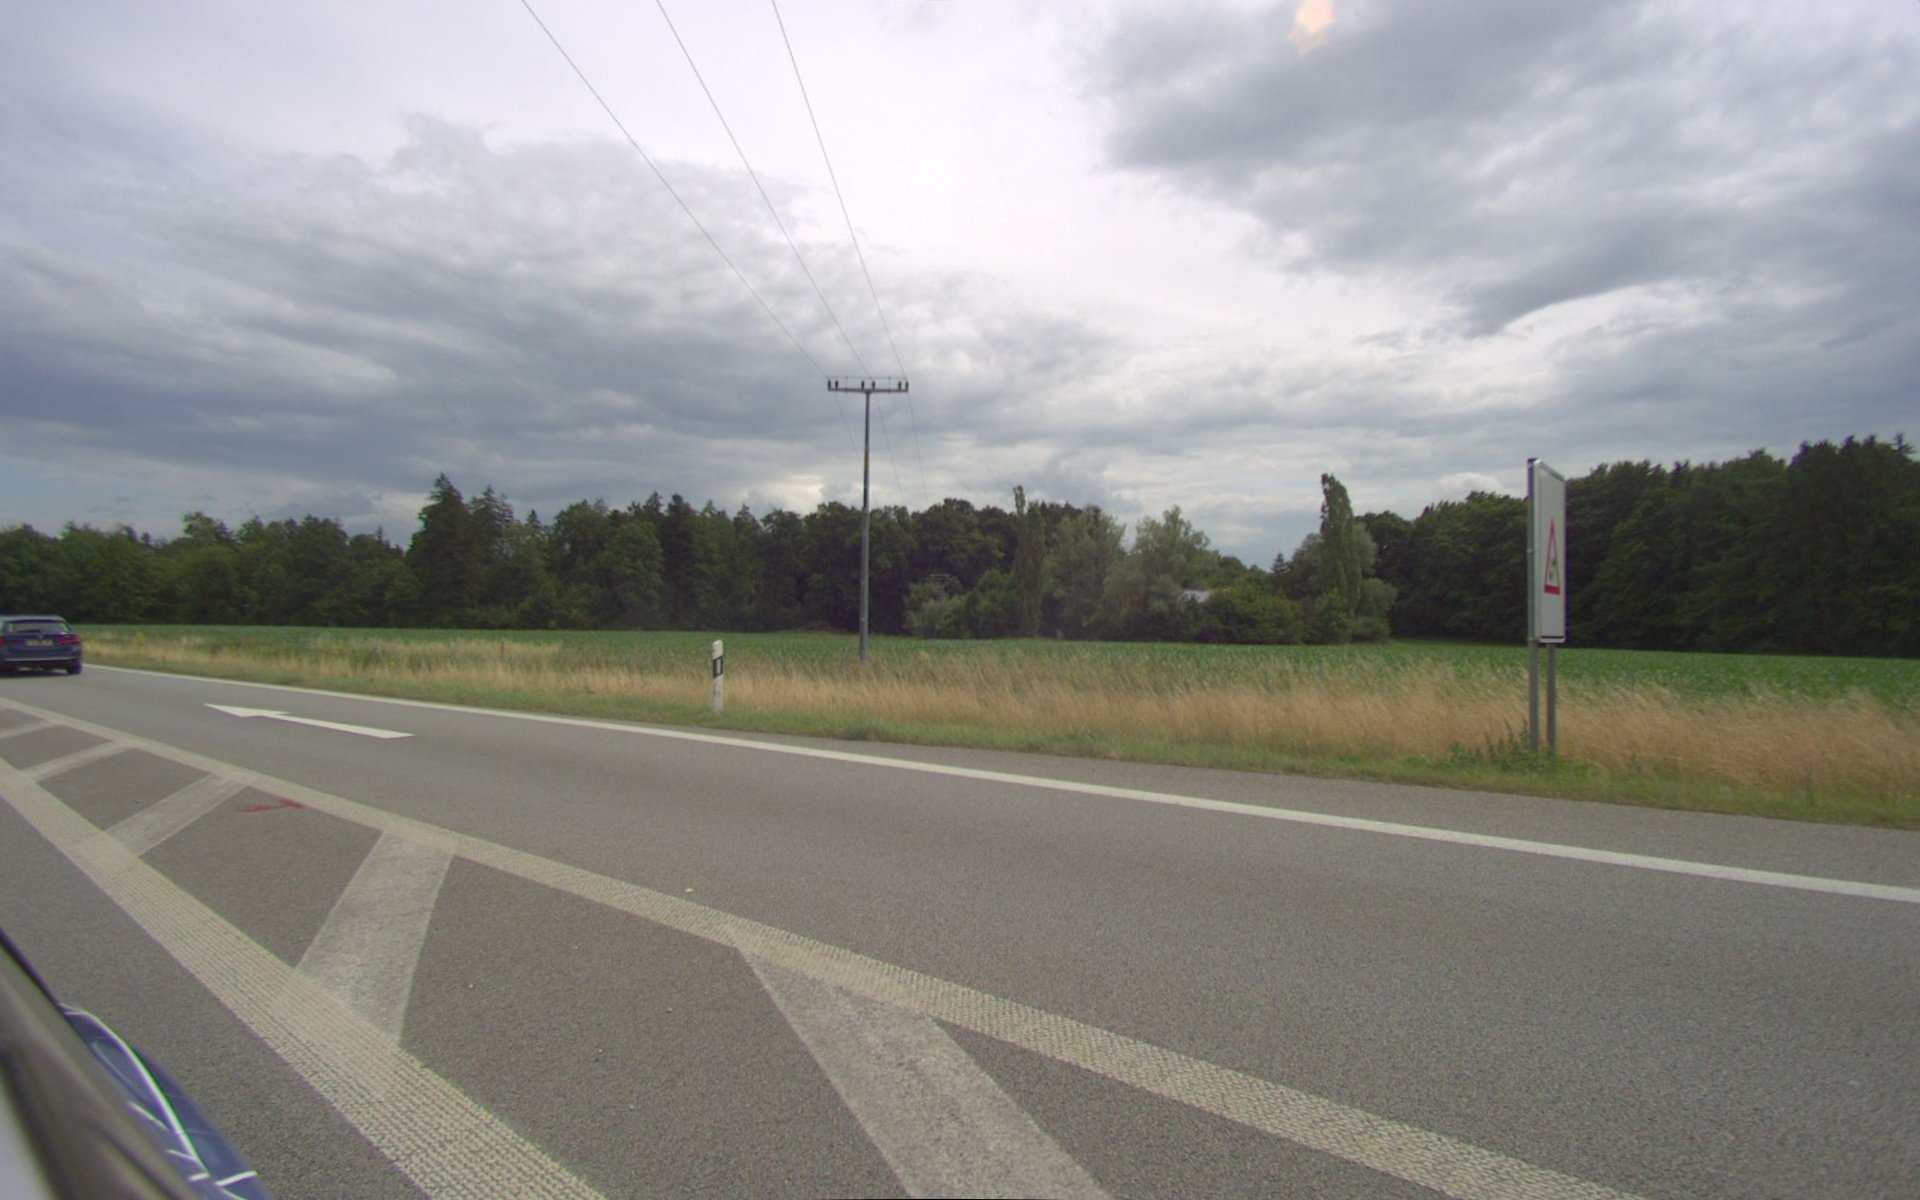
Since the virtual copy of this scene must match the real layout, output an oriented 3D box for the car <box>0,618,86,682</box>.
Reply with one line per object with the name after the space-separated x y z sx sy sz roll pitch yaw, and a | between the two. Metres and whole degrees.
-24.049 1.246 25.802 5.194 1.490 1.838 -1 -3 40 | car
